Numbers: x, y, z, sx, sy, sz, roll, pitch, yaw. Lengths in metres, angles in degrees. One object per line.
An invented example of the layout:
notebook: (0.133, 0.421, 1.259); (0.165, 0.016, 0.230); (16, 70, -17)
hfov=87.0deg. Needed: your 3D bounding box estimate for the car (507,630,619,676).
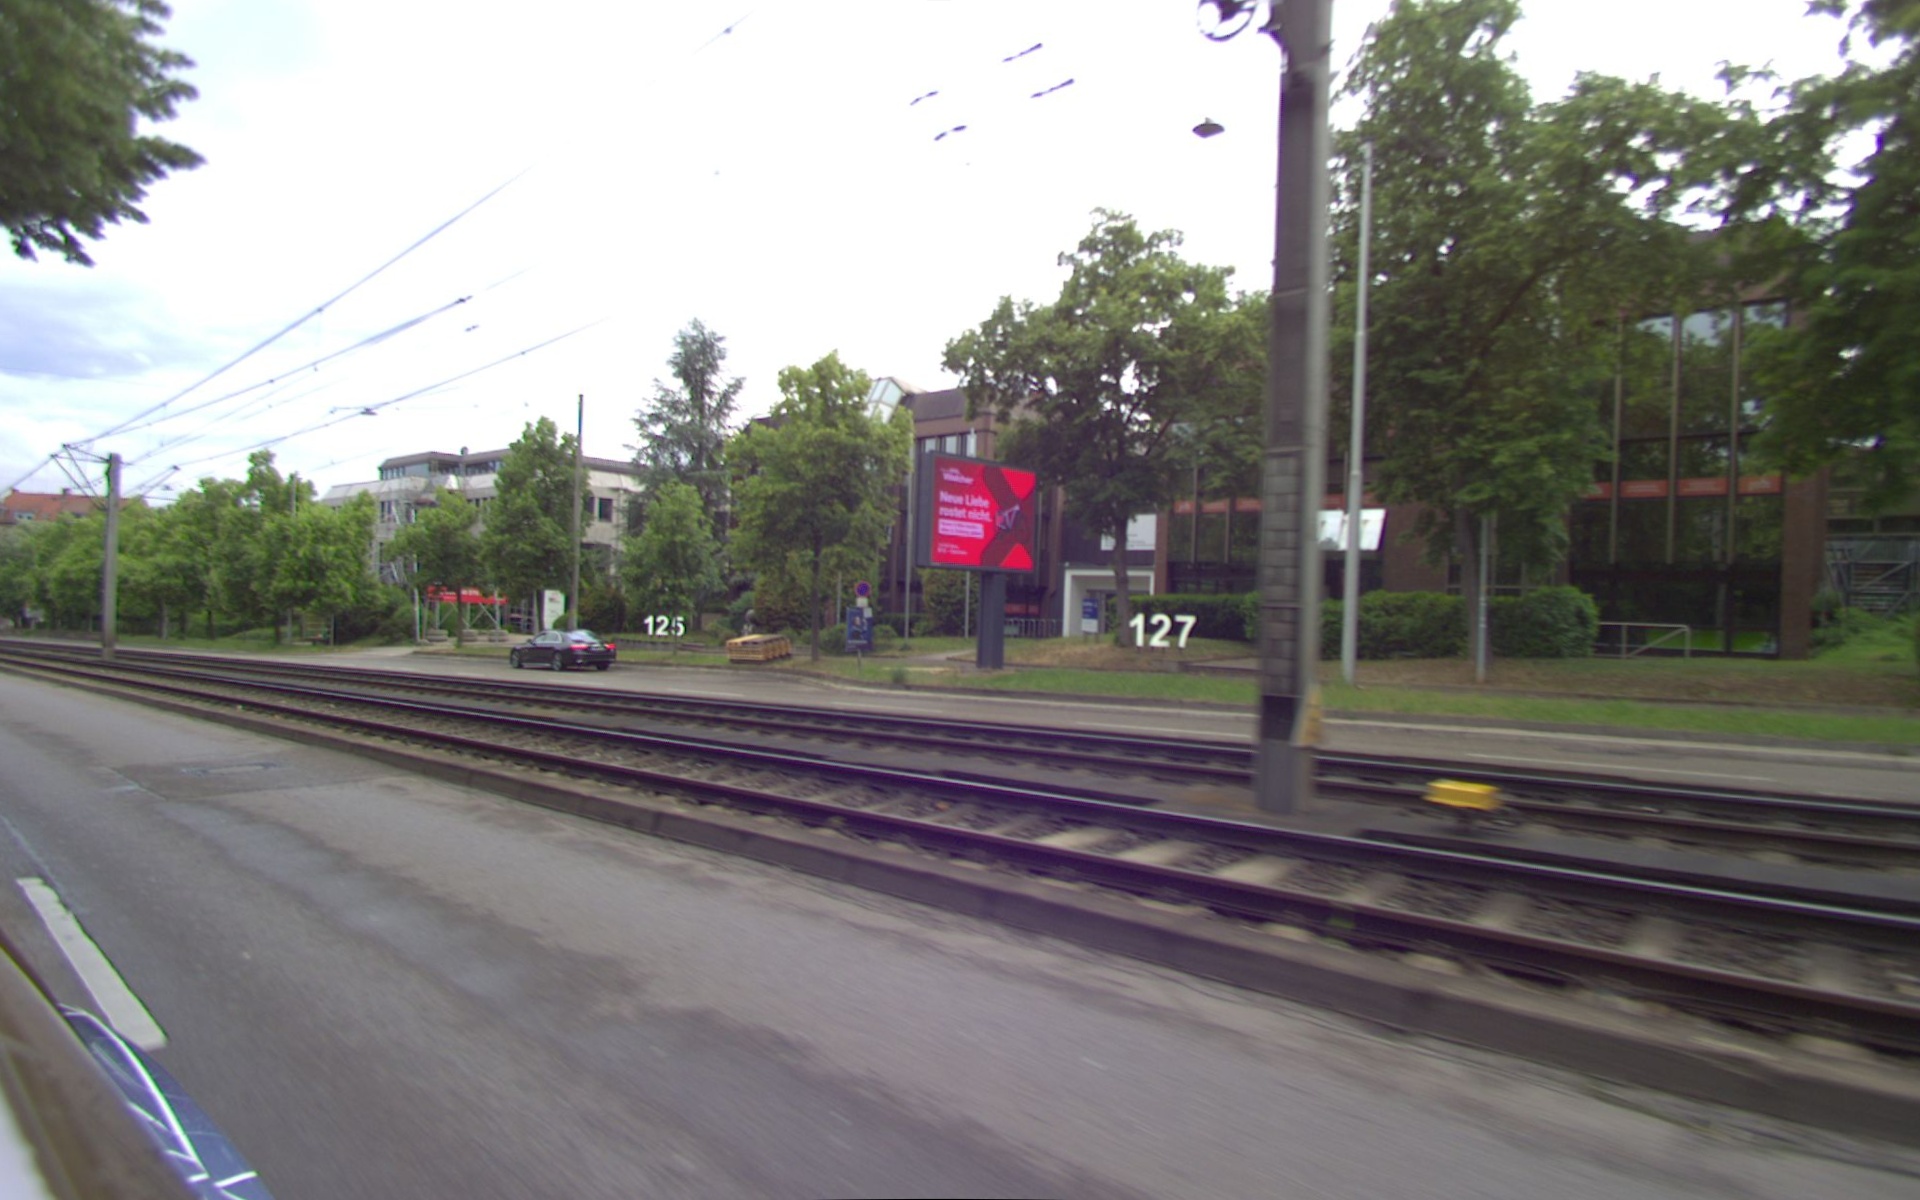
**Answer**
car: (-14.593, 1.891, 37.096); (4.617, 1.541, 1.777); (0, -2, 39)
